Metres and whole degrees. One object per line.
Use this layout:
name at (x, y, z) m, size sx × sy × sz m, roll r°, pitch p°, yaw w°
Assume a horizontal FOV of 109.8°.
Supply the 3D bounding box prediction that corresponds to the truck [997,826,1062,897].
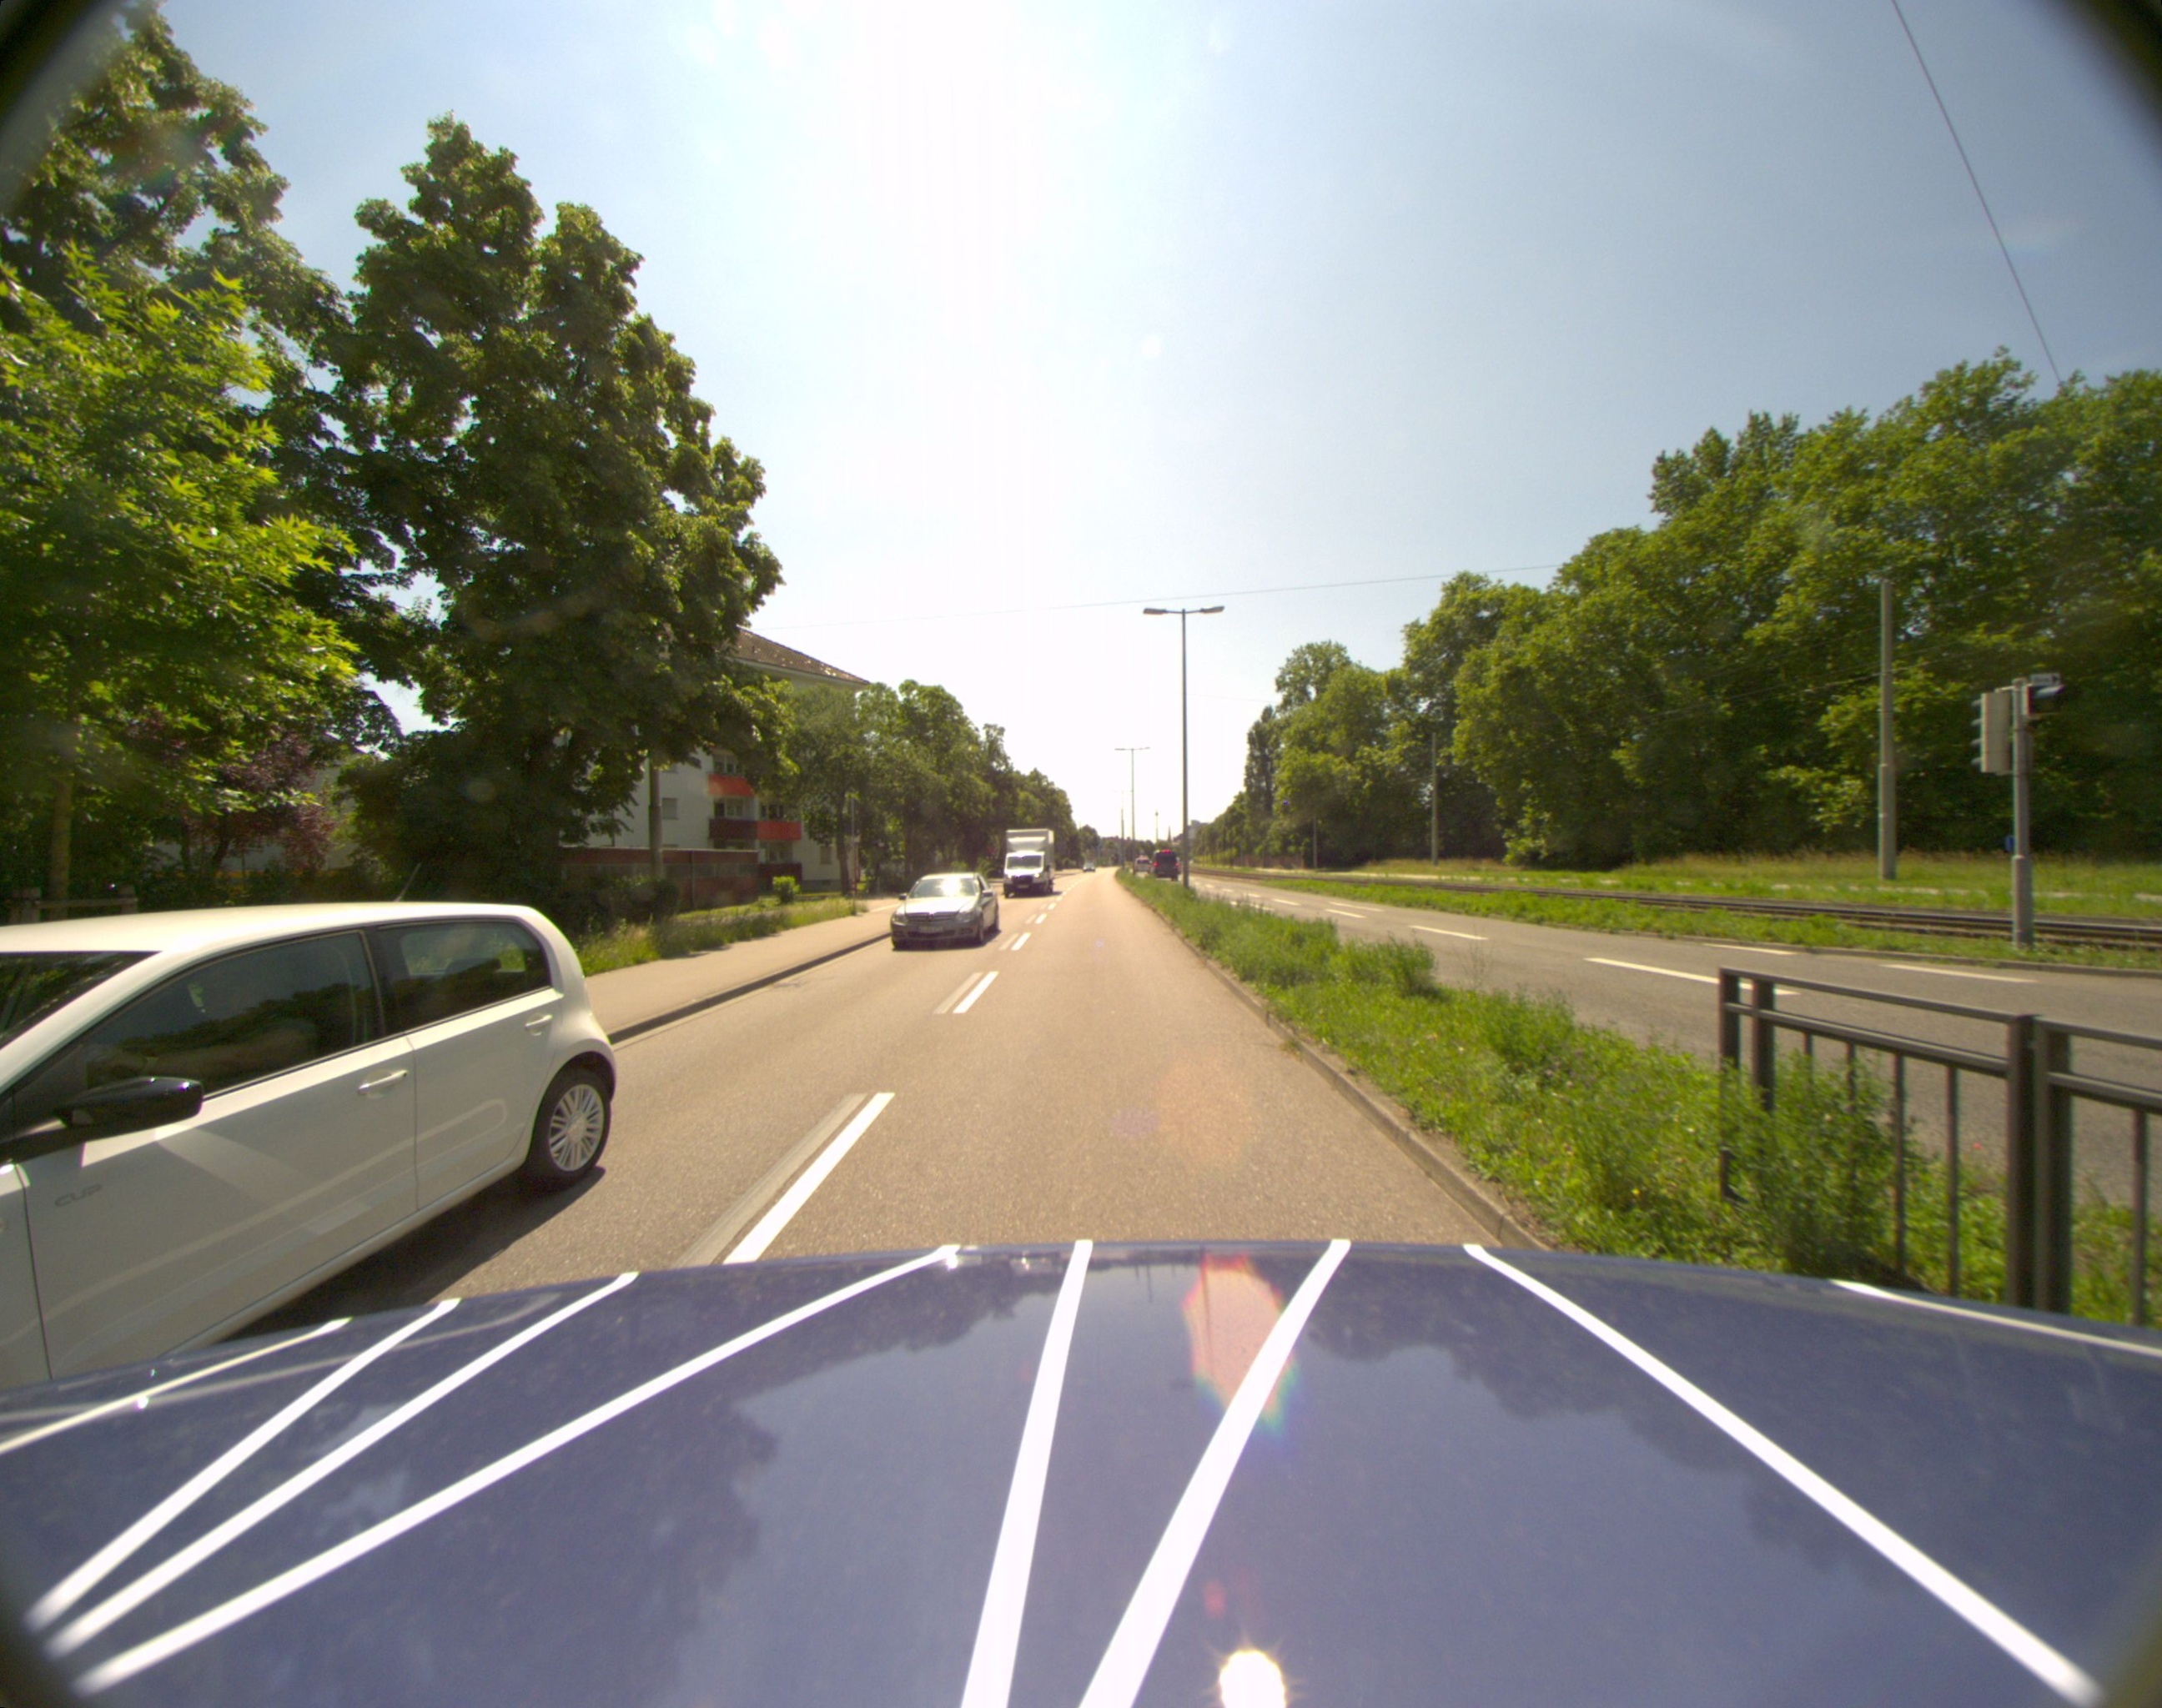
truck at (-2.504, 0.341, 39.583) m, size 2.294 × 3.259 × 8.314 m, roll -2°, pitch 0°, yaw 3°

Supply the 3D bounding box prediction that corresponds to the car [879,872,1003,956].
car at (-2.869, 1.184, 16.434) m, size 1.903 × 1.451 × 3.971 m, roll -3°, pitch 0°, yaw 0°

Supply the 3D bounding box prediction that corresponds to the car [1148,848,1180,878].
car at (6.610, 0.698, 60.869) m, size 1.999 × 2.352 × 5.373 m, roll 0°, pitch 0°, yaw 0°

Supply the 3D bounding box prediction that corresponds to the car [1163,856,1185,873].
car at (11.043, 1.251, 90.503) m, size 1.999 × 2.001 × 5.030 m, roll 0°, pitch -1°, yaw 0°

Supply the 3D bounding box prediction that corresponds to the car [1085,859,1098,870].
car at (1.637, 1.658, 118.815) m, size 1.829 × 1.556 × 4.000 m, roll -1°, pitch 0°, yaw 1°

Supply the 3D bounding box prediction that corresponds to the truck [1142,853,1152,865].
truck at (14.623, 1.071, 169.342) m, size 2.086 × 2.732 × 5.549 m, roll 0°, pitch 0°, yaw 3°

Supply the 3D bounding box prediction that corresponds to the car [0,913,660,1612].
car at (-3.397, 1.098, 2.643) m, size 1.663 × 1.441 × 3.854 m, roll -2°, pitch 0°, yaw 0°

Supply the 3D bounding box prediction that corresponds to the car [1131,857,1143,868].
car at (8.960, 1.350, 122.253) m, size 1.834 × 1.728 × 4.039 m, roll 0°, pitch 0°, yaw 5°

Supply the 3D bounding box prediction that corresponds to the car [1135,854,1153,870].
car at (7.927, 1.023, 95.743) m, size 1.834 × 1.895 × 5.566 m, roll 0°, pitch 0°, yaw 0°
